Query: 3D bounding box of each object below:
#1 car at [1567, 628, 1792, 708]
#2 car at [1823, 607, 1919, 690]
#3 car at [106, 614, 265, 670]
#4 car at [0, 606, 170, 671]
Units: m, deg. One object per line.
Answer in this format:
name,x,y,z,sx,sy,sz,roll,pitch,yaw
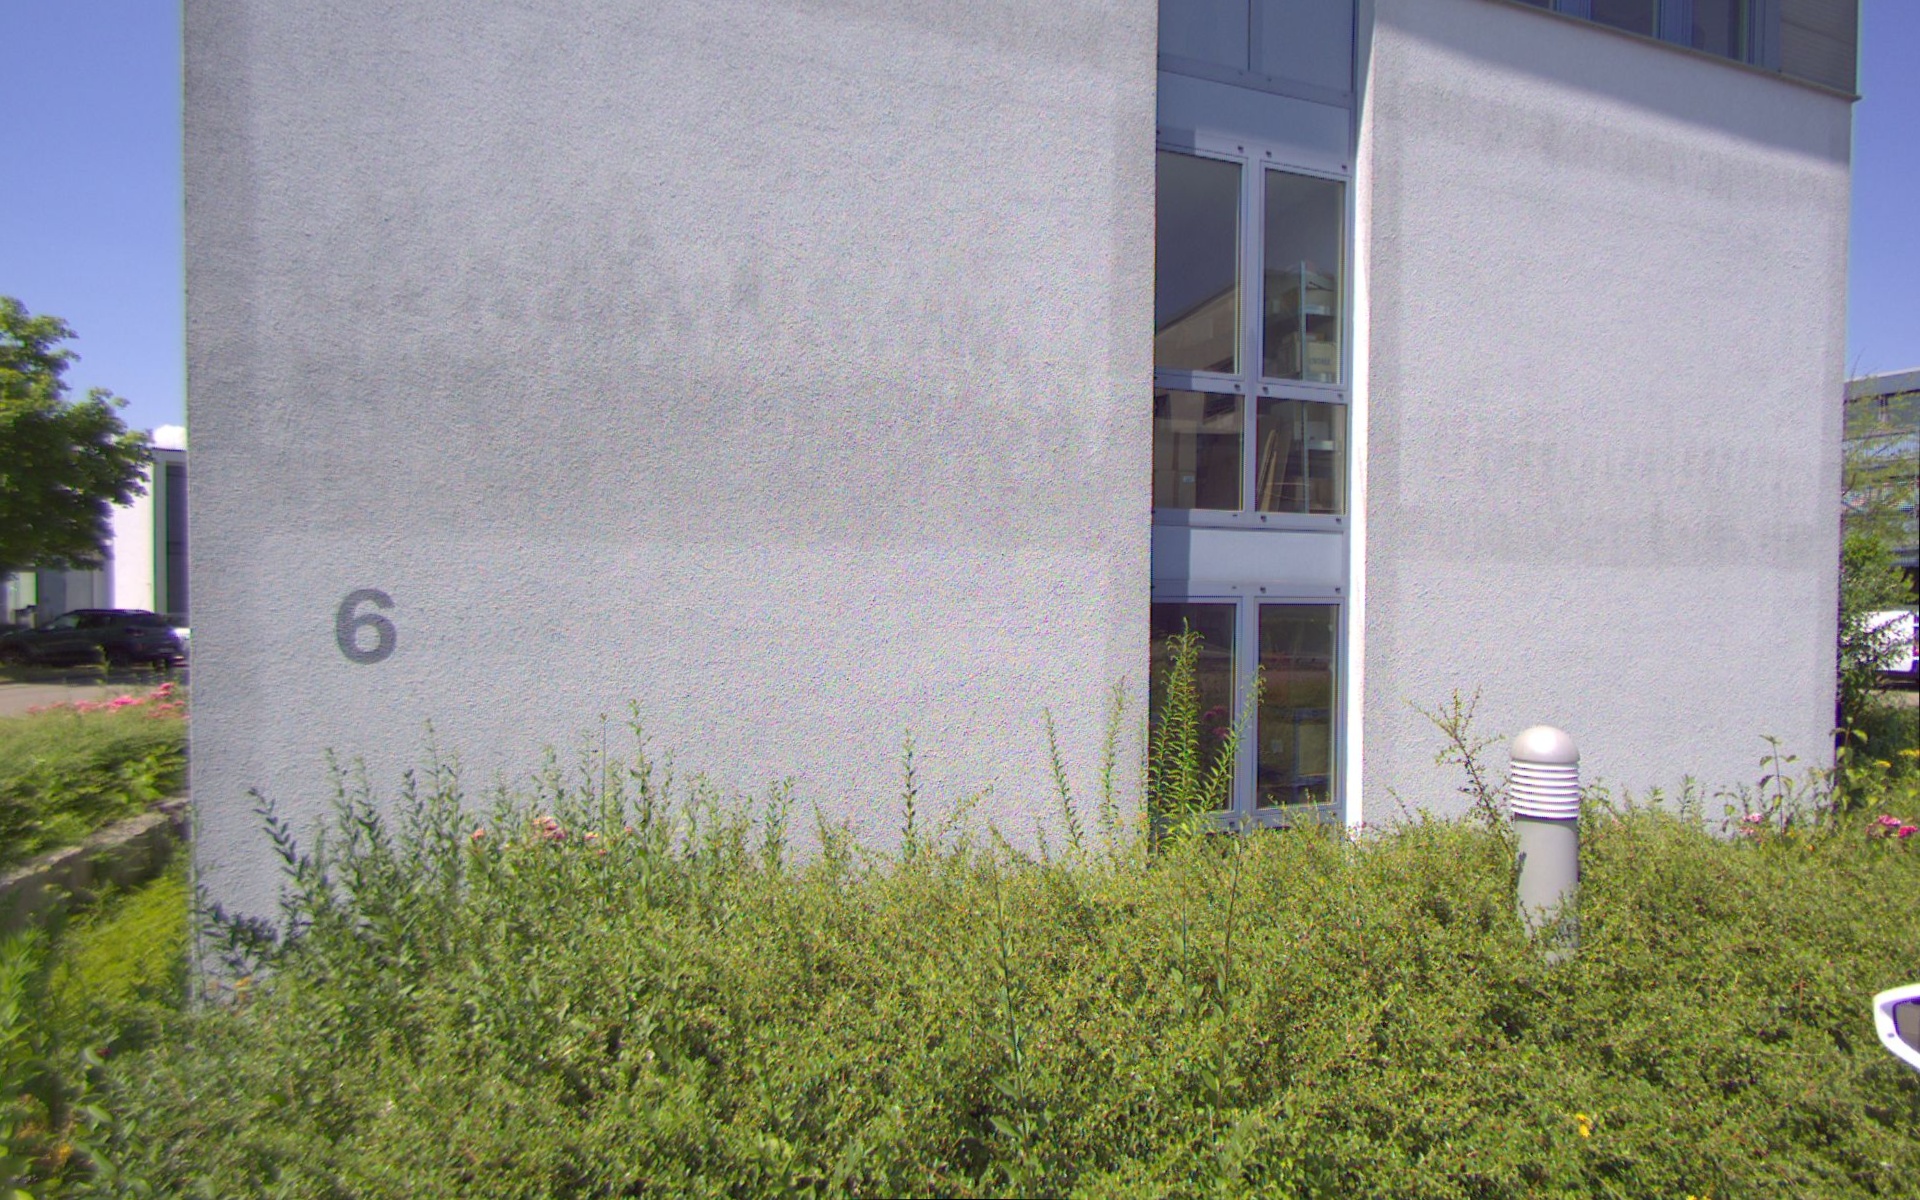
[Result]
car,15.090,1.347,21.064,4.420,1.492,1.852,0,0,-24
car,24.133,1.143,25.141,4.732,1.916,1.878,0,0,-22
car,-20.884,1.111,27.180,3.030,1.443,1.549,1,-1,-4
car,-21.578,0.935,24.704,2.942,1.443,1.549,2,-1,-4
